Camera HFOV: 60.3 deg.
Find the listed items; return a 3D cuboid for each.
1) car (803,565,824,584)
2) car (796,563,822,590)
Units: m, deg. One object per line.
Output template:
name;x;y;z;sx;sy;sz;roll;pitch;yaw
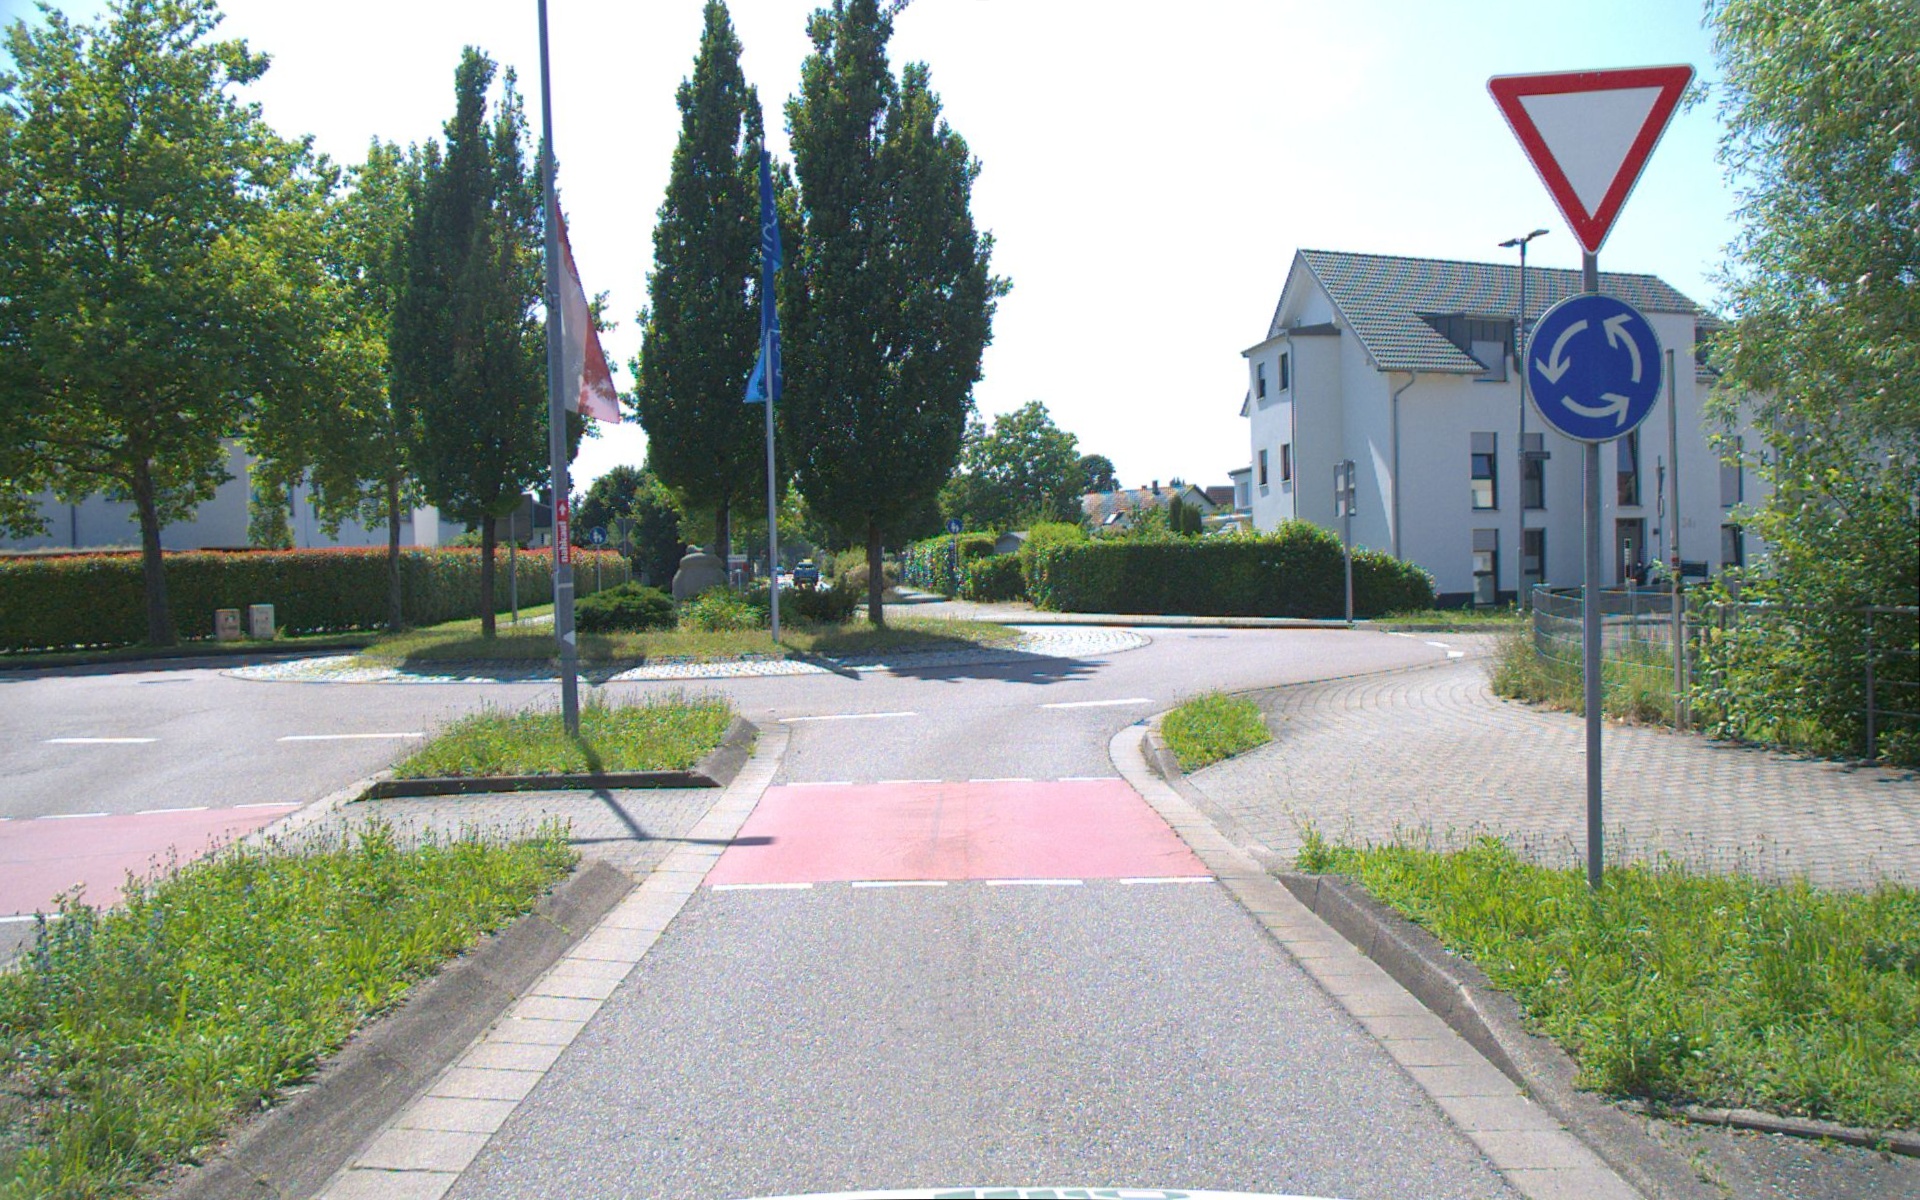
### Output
car;-14.039;-2.460;158.601;1.954;1.800;3.996;0;1;-5
car;-11.128;-1.707;121.853;1.886;1.919;3.995;0;1;-6
